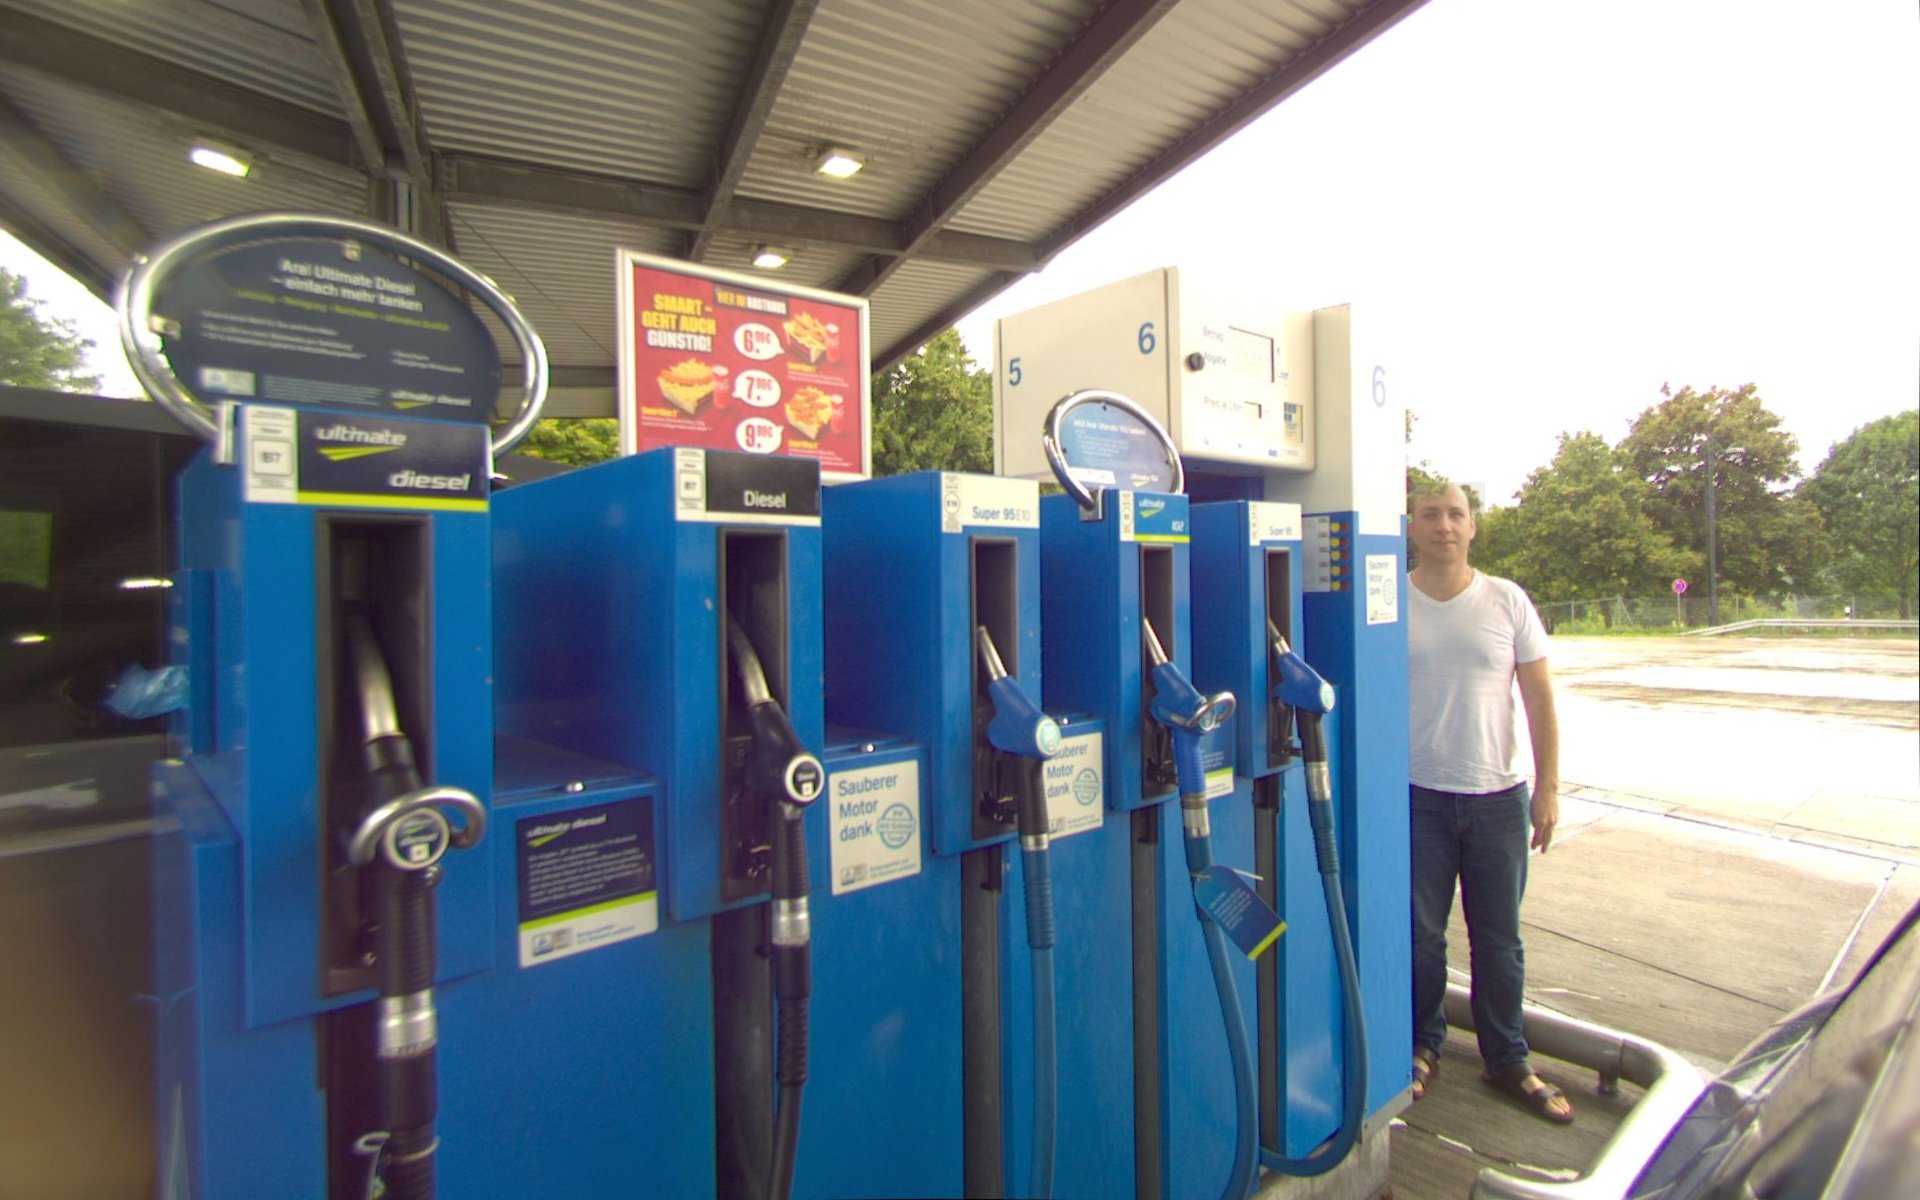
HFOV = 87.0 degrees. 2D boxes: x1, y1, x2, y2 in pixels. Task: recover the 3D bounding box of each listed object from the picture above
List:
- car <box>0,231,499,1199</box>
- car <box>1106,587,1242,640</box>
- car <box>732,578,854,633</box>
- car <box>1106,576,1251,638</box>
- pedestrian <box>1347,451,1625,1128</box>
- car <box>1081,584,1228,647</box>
[{"bbox_3d":[-3.022,0.397,1.482,3.930,1.973,1.819,0,0,-41],"label":"car"},{"bbox_3d":[6.845,0.403,32.318,4.123,1.576,1.990,0,0,17],"label":"car"},{"bbox_3d":[-5.561,0.154,33.479,1.967,1.683,4.170,0,0,-44],"label":"car"},{"bbox_3d":[7.467,0.216,34.709,4.700,2.011,2.007,0,0,14],"label":"car"},{"bbox_3d":[1.543,0.512,3.051,0.625,1.832,0.492,-1,1,15],"label":"pedestrian"},{"bbox_3d":[5.799,0.424,29.978,4.123,1.752,1.990,0,0,17],"label":"car"}]
